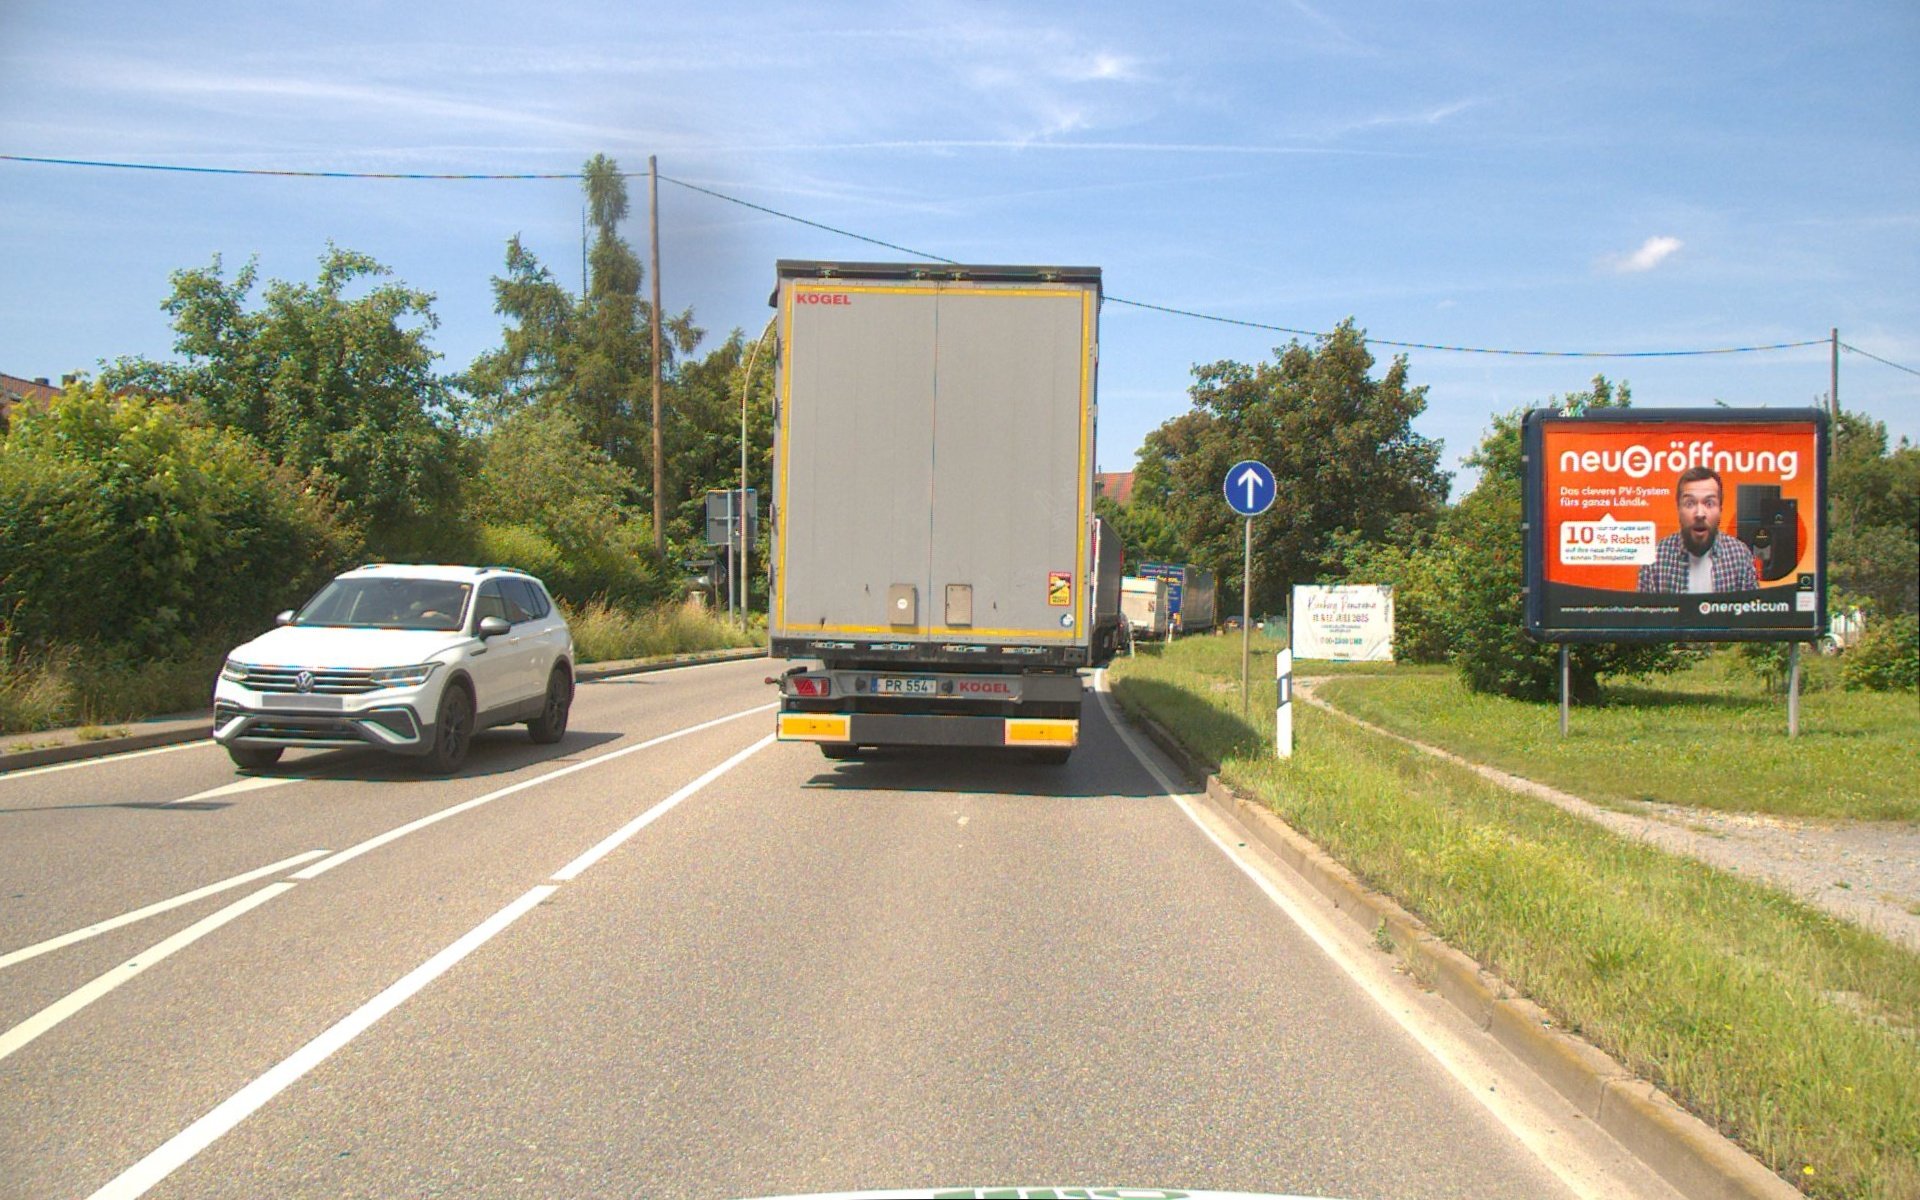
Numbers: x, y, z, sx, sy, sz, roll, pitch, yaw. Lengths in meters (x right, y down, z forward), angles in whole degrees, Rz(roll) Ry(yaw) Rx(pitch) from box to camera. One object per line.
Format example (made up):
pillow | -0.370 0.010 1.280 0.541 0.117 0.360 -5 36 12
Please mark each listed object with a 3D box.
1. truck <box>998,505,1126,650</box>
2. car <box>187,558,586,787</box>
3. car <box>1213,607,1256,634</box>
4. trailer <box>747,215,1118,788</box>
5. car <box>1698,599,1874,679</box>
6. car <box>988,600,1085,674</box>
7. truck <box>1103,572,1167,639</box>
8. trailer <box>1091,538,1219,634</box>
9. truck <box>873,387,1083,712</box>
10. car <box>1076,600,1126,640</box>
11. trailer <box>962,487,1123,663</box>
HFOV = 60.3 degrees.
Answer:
truck | 3.651 -0.719 57.102 3.853 4.655 7.157 1 0 8
car | -4.822 0.525 14.666 1.807 1.684 4.405 1 0 3
car | 18.333 1.353 110.412 1.953 1.713 3.999 1 0 23
trailer | 0.089 -0.800 18.559 2.728 4.278 12.116 1 0 3
car | 22.905 1.056 45.977 3.902 2.049 2.002 1 0 7
car | 1.828 0.815 38.417 1.951 1.556 4.003 1 0 6
truck | 8.071 0.218 75.828 2.369 2.888 5.417 1 0 12
trailer | 10.933 -0.758 90.455 5.069 4.709 15.908 1 0 13
truck | 0.421 -0.695 24.871 2.688 4.238 6.146 1 0 3
car | 5.833 0.795 68.012 1.802 1.512 4.003 1 0 8
trailer | 2.783 -0.641 49.973 3.808 4.600 12.722 1 0 7
